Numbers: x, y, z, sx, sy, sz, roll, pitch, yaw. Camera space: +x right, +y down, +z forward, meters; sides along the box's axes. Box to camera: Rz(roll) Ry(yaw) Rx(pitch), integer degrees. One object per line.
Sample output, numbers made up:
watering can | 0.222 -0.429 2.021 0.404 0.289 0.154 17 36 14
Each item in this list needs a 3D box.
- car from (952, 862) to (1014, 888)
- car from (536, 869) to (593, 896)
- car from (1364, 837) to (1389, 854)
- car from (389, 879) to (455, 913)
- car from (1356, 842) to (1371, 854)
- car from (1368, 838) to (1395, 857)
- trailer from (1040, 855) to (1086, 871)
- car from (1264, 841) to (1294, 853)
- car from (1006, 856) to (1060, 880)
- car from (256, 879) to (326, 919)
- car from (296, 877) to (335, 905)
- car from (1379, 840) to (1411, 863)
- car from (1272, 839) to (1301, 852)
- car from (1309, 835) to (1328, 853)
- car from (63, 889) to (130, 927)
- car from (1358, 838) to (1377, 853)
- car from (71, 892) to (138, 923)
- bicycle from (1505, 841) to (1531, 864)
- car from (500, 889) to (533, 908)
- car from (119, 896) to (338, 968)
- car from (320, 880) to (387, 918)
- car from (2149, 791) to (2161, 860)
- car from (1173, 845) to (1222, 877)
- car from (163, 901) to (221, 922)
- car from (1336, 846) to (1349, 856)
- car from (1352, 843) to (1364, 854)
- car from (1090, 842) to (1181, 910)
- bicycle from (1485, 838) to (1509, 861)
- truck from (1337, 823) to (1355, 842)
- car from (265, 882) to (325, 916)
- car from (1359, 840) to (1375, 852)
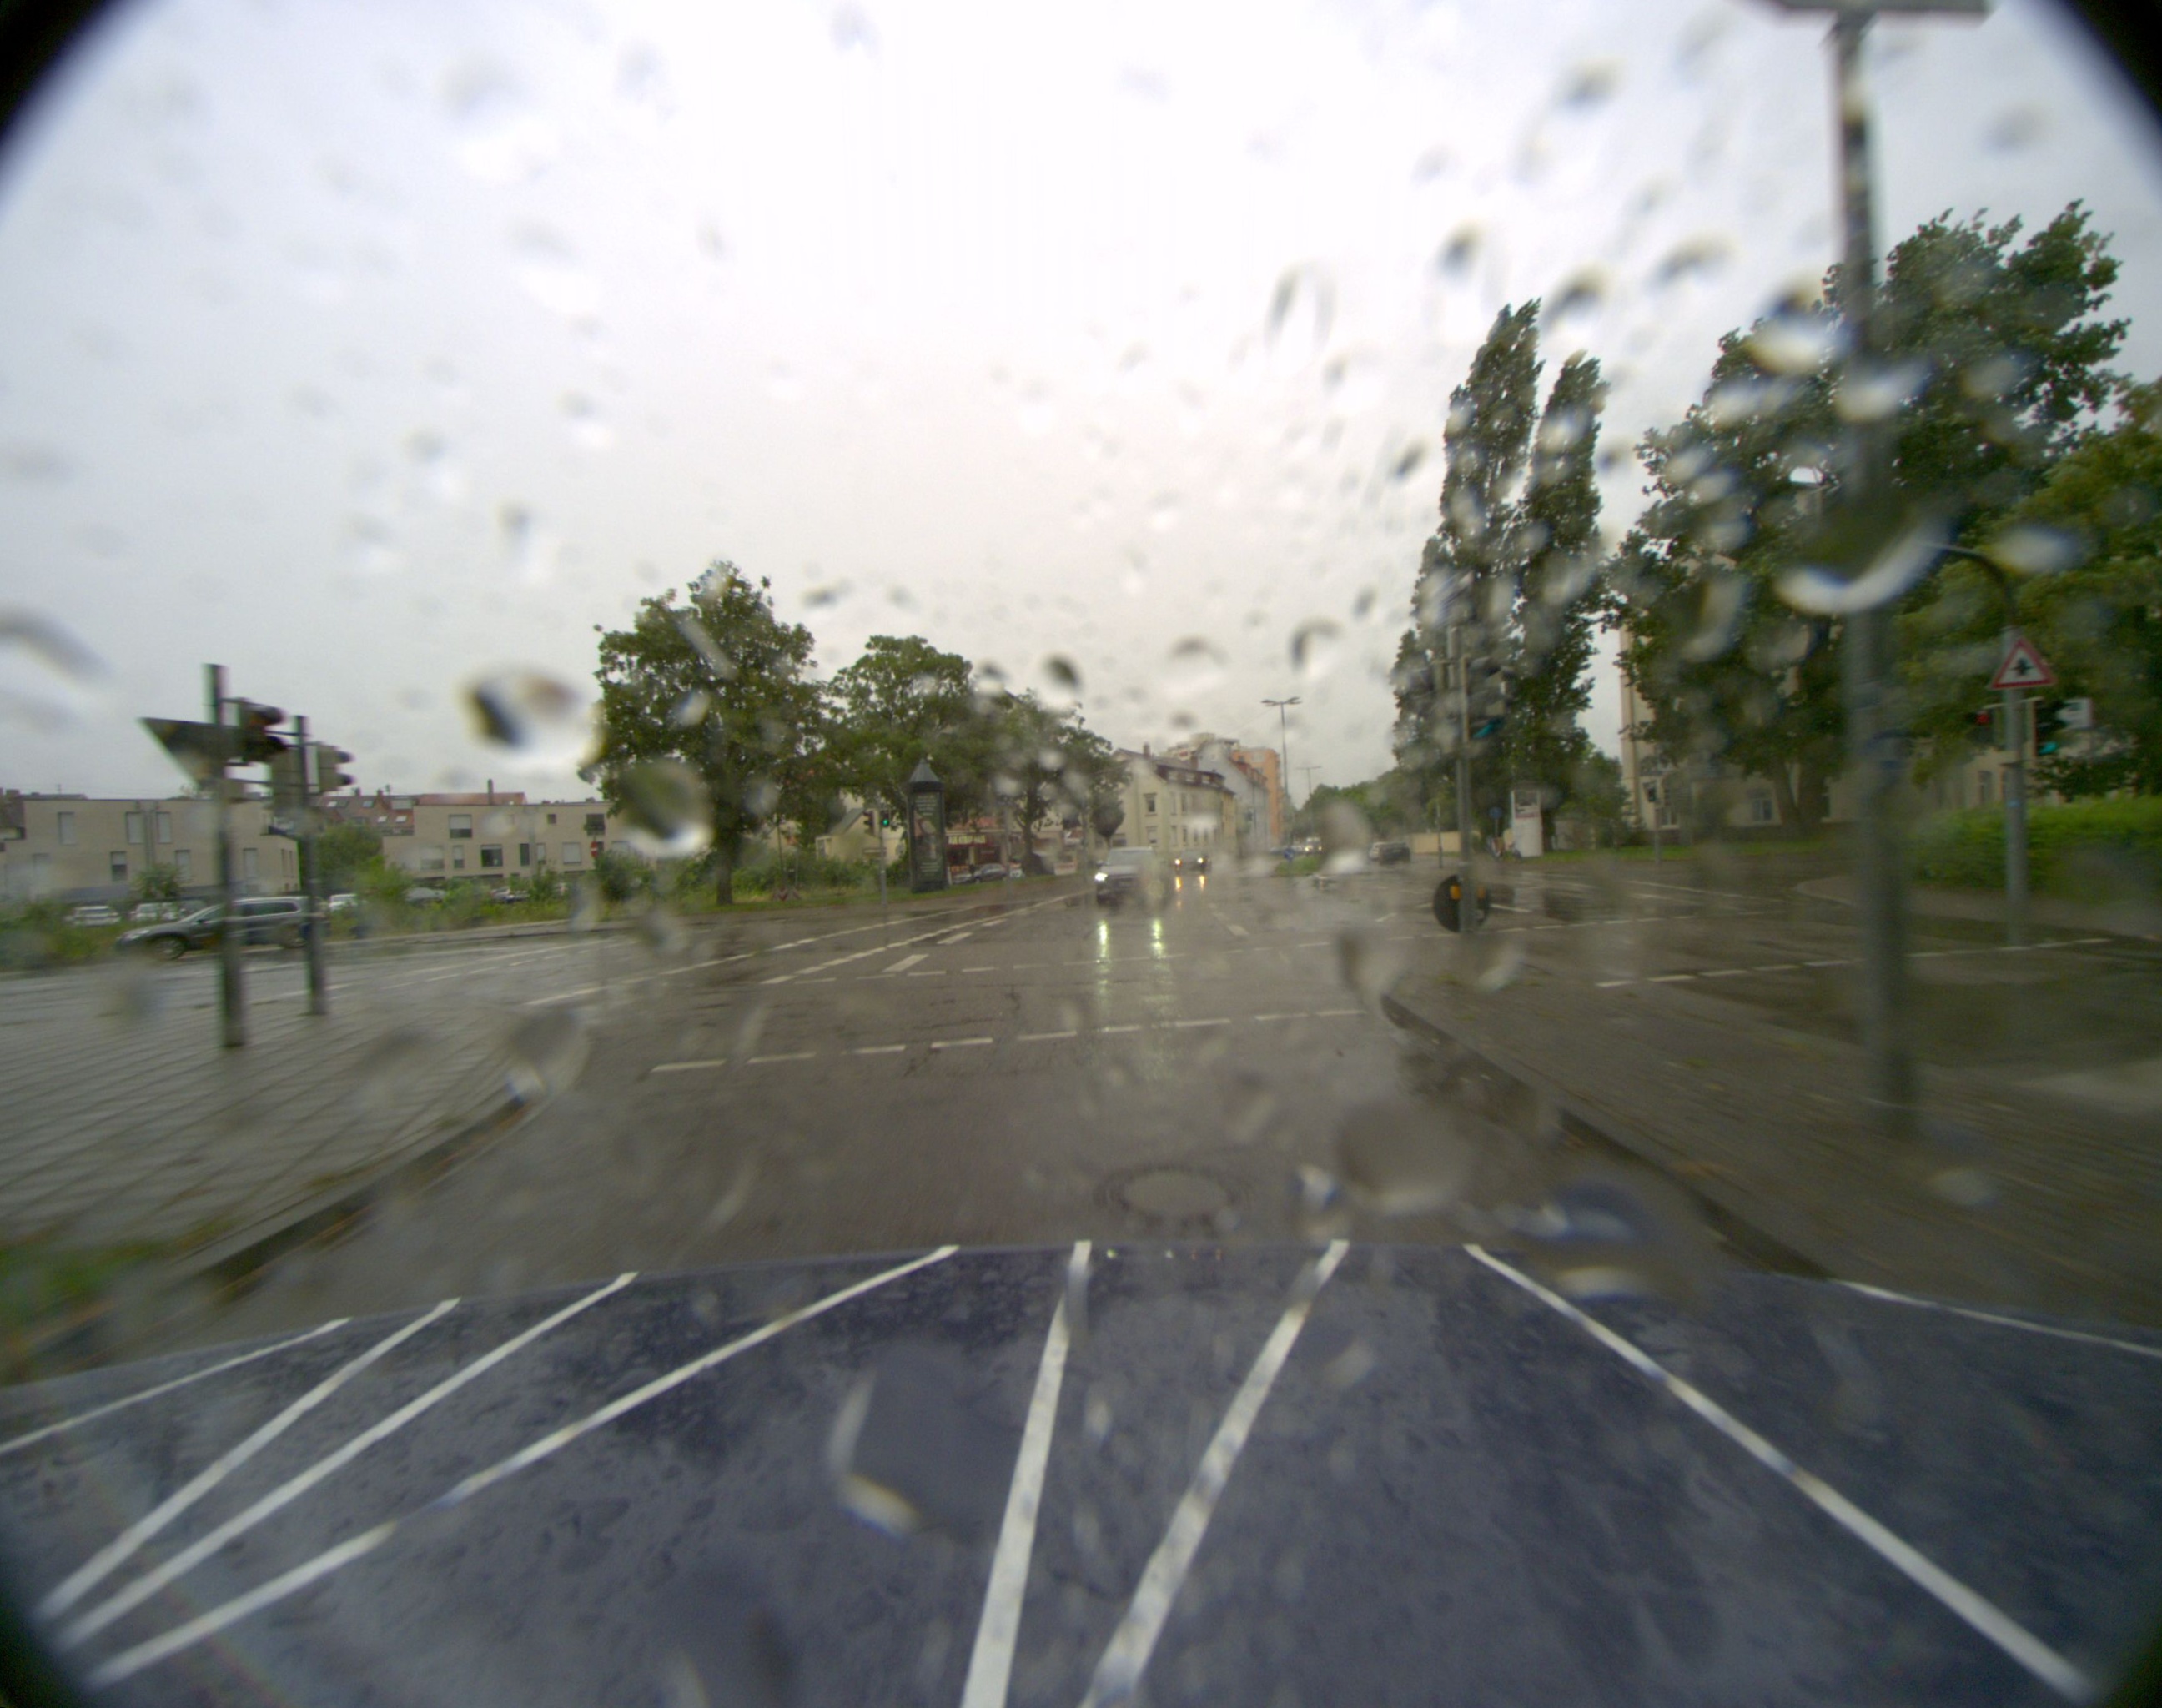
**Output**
car | -6.394 1.368 50.087 1.699 1.425 4.164 -3 1 33
car | -36.598 2.031 53.820 3.990 1.674 1.912 -4 1 34
car | 26.784 -0.777 68.920 1.729 1.375 4.184 -5 0 18
car | -41.228 2.619 47.490 3.990 1.849 2.003 -4 1 34
car | 40.672 -0.867 109.472 1.626 1.589 3.802 -4 1 16
car | 25.055 -0.571 63.501 1.604 1.465 4.126 -4 1 16
trailer | -1.692 0.870 70.071 1.827 1.224 4.523 -4 1 -38
car | 26.749 -0.925 102.559 3.756 1.446 1.803 -4 -1 20
car | -3.404 0.969 54.319 1.635 1.425 4.183 -3 1 33
car | -44.991 2.577 43.264 3.990 2.002 2.003 -4 1 34
car | -60.841 2.972 60.397 3.989 2.002 2.003 -3 1 44
car | 21.807 -0.224 52.879 1.546 1.389 4.198 -5 0 17
car | 30.260 -1.226 111.762 3.918 1.605 1.694 -4 1 21
car | 33.048 -1.436 105.618 2.191 2.242 4.890 -4 1 20
car | -57.403 3.149 44.299 3.990 2.002 2.003 -4 1 34
car | 31.259 -0.916 82.953 1.698 1.437 4.102 -4 0 19
car | -69.037 3.744 53.774 2.003 1.867 3.990 -5 1 -40
bicycle | 21.502 -0.086 37.416 0.556 1.071 1.797 -4 1 13
car | -45.693 3.619 61.450 1.770 1.335 4.082 -5 1 -41
car | -26.430 2.347 23.702 1.855 1.645 4.312 -3 1 37
car | -43.682 2.704 45.620 3.990 2.002 2.003 -4 1 34
car | 27.416 -0.738 16.803 1.783 1.676 4.019 -3 0 -17
car | 6.968 0.403 45.155 1.829 1.619 4.005 -4 1 24
car | -55.538 3.592 47.449 4.389 1.129 1.772 -4 1 34
car | 37.846 -0.494 110.090 1.729 1.385 3.954 0 2 17
car | 41.980 -0.812 115.071 1.692 1.445 3.723 -4 1 21
car | 1.746 0.588 22.766 1.959 1.702 4.178 -4 1 13
bicycle | 22.282 -0.259 40.728 0.698 1.179 1.625 -4 1 13
truck | 65.574 -5.312 187.705 3.828 4.359 10.798 -4 1 20
car | -52.896 3.025 51.144 3.990 2.002 2.003 -4 1 34
car | 38.597 -1.080 102.661 1.777 1.451 4.685 -4 1 18
